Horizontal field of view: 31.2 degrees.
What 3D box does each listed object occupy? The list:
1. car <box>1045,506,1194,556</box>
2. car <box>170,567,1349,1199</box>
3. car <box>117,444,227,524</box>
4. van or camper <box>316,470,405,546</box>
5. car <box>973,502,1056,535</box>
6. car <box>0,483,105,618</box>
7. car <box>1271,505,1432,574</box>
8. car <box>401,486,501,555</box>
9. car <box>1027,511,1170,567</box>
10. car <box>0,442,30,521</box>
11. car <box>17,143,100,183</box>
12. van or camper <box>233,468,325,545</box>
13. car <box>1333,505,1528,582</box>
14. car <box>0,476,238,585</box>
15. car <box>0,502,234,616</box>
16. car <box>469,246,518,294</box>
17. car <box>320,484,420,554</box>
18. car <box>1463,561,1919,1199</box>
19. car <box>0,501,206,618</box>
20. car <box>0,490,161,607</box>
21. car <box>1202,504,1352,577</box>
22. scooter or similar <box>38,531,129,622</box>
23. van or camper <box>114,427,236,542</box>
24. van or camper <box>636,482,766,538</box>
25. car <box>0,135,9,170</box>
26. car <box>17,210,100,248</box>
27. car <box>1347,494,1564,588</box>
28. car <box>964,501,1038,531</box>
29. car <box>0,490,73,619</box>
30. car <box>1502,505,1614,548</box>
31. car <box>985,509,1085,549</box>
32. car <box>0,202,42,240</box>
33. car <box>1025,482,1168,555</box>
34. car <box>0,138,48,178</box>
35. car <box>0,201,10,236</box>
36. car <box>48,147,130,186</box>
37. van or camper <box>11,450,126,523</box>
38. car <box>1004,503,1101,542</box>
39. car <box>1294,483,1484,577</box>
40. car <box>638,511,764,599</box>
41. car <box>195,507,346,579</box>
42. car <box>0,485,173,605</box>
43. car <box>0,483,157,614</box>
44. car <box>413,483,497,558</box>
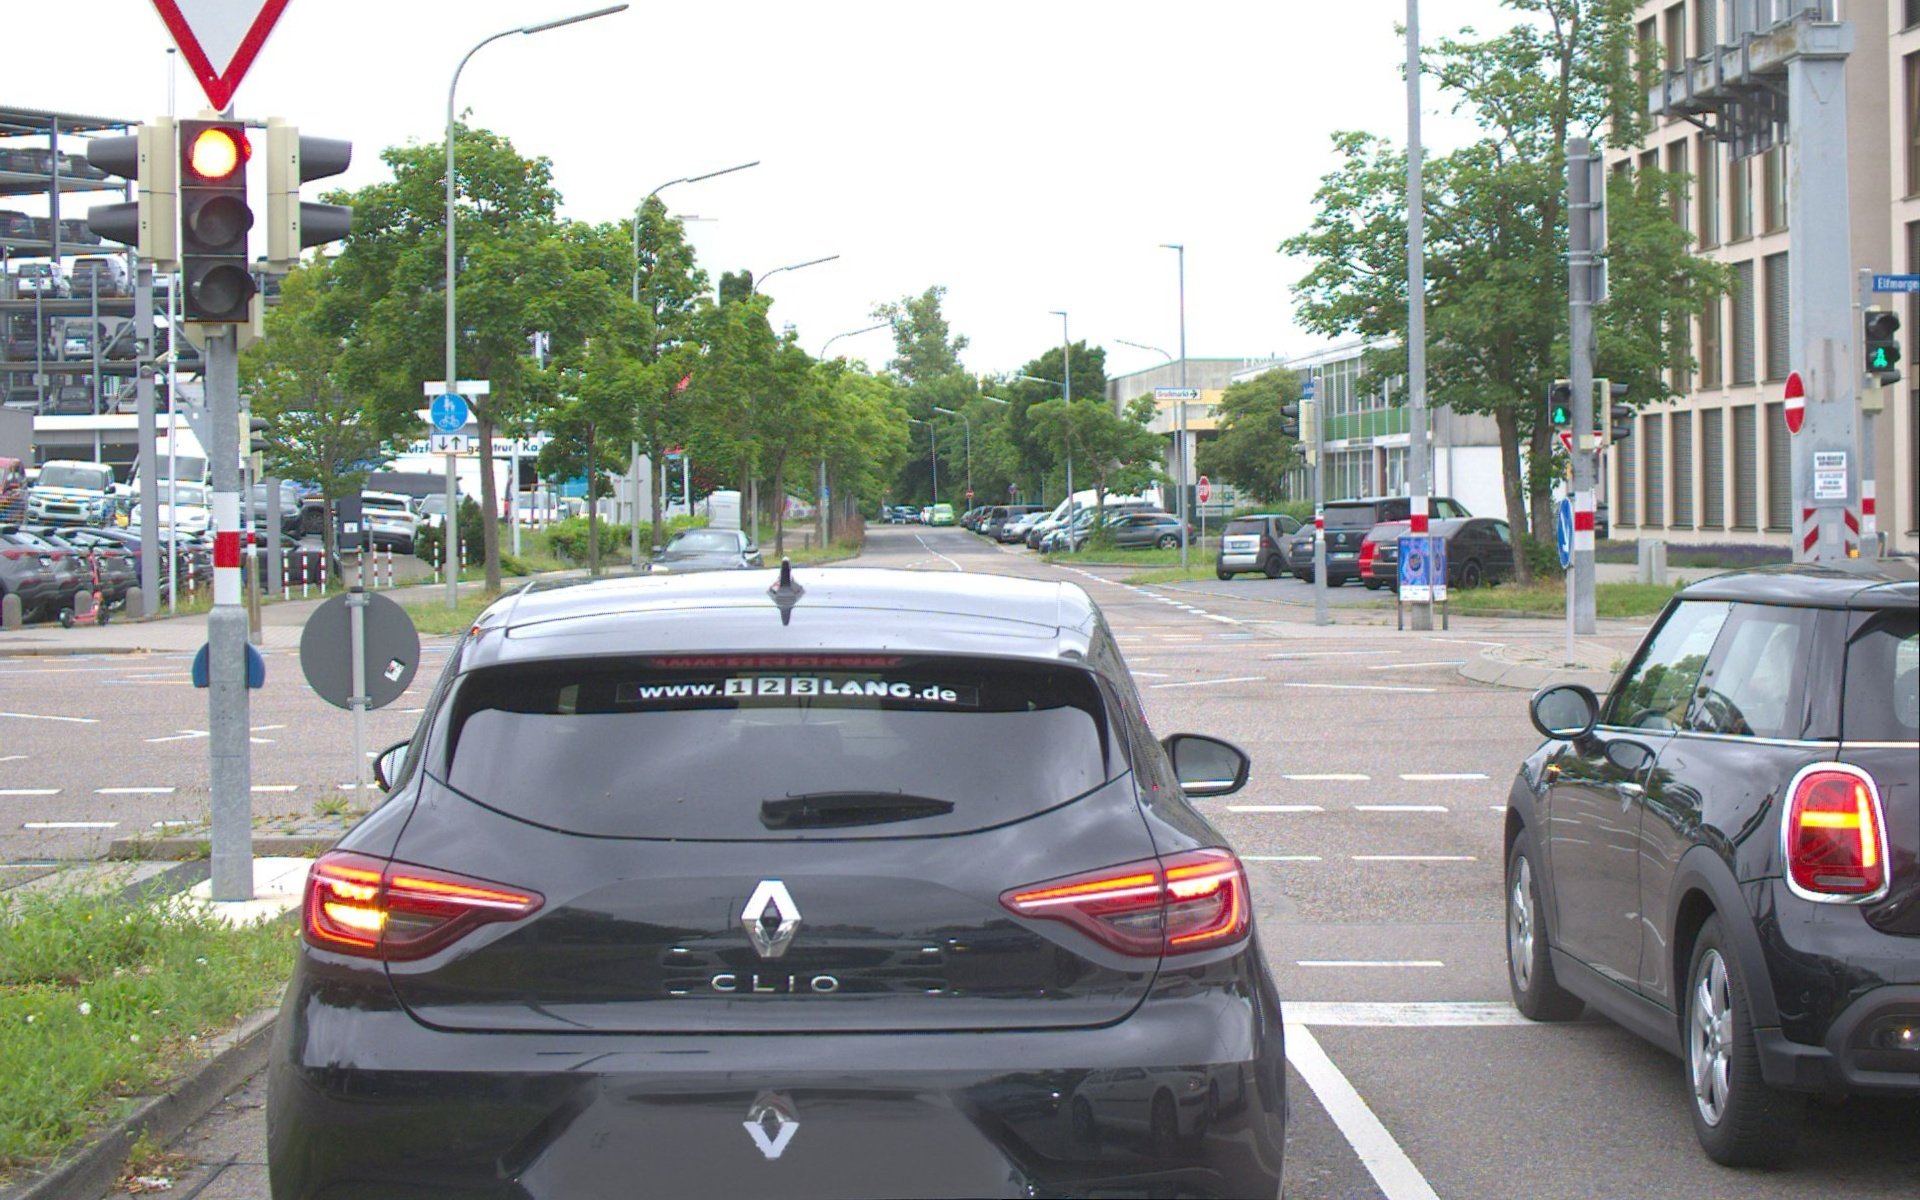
[{"bbox_3d":[5.706,-2.476,123.509,5.173,1.714,2.144,1,0,-2],"label":"car"},{"bbox_3d":[-0.326,0.658,7.164,1.757,1.430,4.000,1,1,-1],"label":"car"},{"bbox_3d":[-19.088,-2.792,83.417,1.993,1.817,4.001,1,1,-4],"label":"car"},{"bbox_3d":[-16.520,-2.518,94.838,1.993,2.007,4.001,1,1,-4],"label":"van or camper"},{"bbox_3d":[3.461,-5.183,218.760,5.173,2.007,2.144,1,0,-1],"label":"car"},{"bbox_3d":[-15.921,-0.689,53.529,4.700,2.007,2.000,-3,1,-4],"label":"car"},{"bbox_3d":[8.857,-1.374,77.626,1.696,1.506,3.808,0,1,43],"label":"car"},{"bbox_3d":[-12.485,-1.935,84.469,1.993,1.612,4.000,1,1,-2],"label":"car"},{"bbox_3d":[5.175,-2.293,128.958,5.173,2.007,2.144,1,0,-2],"label":"car"},{"bbox_3d":[-24.009,-2.872,83.528,1.993,1.842,4.001,1,1,-4],"label":"car"},{"bbox_3d":[-47.080,-22.820,179.579,3.994,1.661,1.997,1,2,32],"label":"car"},{"bbox_3d":[-18.718,-2.547,94.646,1.993,2.007,4.001,1,1,-4],"label":"van or camper"},{"bbox_3d":[9.744,-1.173,71.024,1.887,1.546,4.123,0,1,45],"label":"car"},{"bbox_3d":[-17.344,-1.401,69.999,4.892,2.007,2.000,-3,1,-5],"label":"car"},{"bbox_3d":[-16.835,-0.791,67.196,4.892,2.007,2.000,-3,1,-5],"label":"car"},{"bbox_3d":[-21.497,-15.215,158.655,1.993,1.876,4.001,-1,1,-5],"label":"car"},{"bbox_3d":[-14.269,-1.950,83.298,1.993,1.612,4.001,1,1,-4],"label":"car"},{"bbox_3d":[2.536,0.616,9.208,1.786,1.411,3.643,1,1,-1],"label":"car"},{"bbox_3d":[-16.804,-0.733,64.476,4.892,2.007,2.000,-3,1,-5],"label":"car"},{"bbox_3d":[-16.428,-0.825,59.165,4.945,1.870,2.054,-3,1,-6],"label":"car"},{"bbox_3d":[7.744,-1.439,83.938,3.424,1.726,1.765,0,1,-42],"label":"car"},{"bbox_3d":[-12.304,-0.339,48.295,0.557,1.214,1.559,2,2,13],"label":"scooter or similar"},{"bbox_3d":[-21.566,-3.130,94.647,2.535,3.016,4.844,1,1,-4],"label":"van or camper"},{"bbox_3d":[-11.440,-3.967,151.915,5.598,2.363,2.000,1,0,-1],"label":"van or camper"},{"bbox_3d":[-50.310,-22.647,174.117,3.994,1.661,1.997,1,2,32],"label":"car"},{"bbox_3d":[-47.062,-19.345,179.453,3.994,1.661,1.997,1,2,32],"label":"car"},{"bbox_3d":[9.625,-1.139,66.636,4.121,1.762,1.888,-1,1,-40],"label":"car"},{"bbox_3d":[2.710,-5.611,229.842,4.785,1.885,2.144,1,0,-2],"label":"car"},{"bbox_3d":[-15.787,-0.583,50.961,4.771,1.856,2.000,-3,1,-5],"label":"car"},{"bbox_3d":[19.294,-2.365,110.988,3.229,1.328,1.486,1,1,-19],"label":"car"},{"bbox_3d":[3.955,-3.748,182.146,5.173,2.007,2.144,1,0,-1],"label":"car"},{"bbox_3d":[-49.195,-19.386,176.100,3.994,1.661,1.997,1,2,32],"label":"car"},{"bbox_3d":[5.993,-3.586,151.554,6.116,3.105,2.134,1,0,-1],"label":"car"},{"bbox_3d":[-48.920,-22.645,176.227,3.994,1.661,1.997,1,2,32],"label":"car"},{"bbox_3d":[-50.289,-19.301,174.144,3.994,1.661,1.997,1,2,32],"label":"car"},{"bbox_3d":[-45.983,-22.873,181.522,3.994,1.661,1.997,1,2,32],"label":"car"},{"bbox_3d":[-21.555,-2.720,83.291,1.993,1.645,4.001,1,1,-4],"label":"van or camper"},{"bbox_3d":[4.697,-3.969,175.545,4.785,1.885,2.144,1,0,-2],"label":"car"},{"bbox_3d":[9.288,-1.496,74.220,1.998,1.959,4.235,0,1,41],"label":"car"},{"bbox_3d":[-4.834,-0.876,64.643,1.978,1.546,4.614,-1,2,0],"label":"car"},{"bbox_3d":[-19.802,-1.628,98.896,3.986,2.007,2.000,1,0,-3],"label":"car"},{"bbox_3d":[-16.709,-0.938,61.655,4.772,2.007,2.000,-3,1,-6],"label":"car"},{"bbox_3d":[-15.976,-0.781,56.536,5.022,2.007,2.266,-3,1,-5],"label":"car"},{"bbox_3d":[-13.933,-2.176,95.050,1.993,2.007,4.001,1,1,-4],"label":"car"}]
